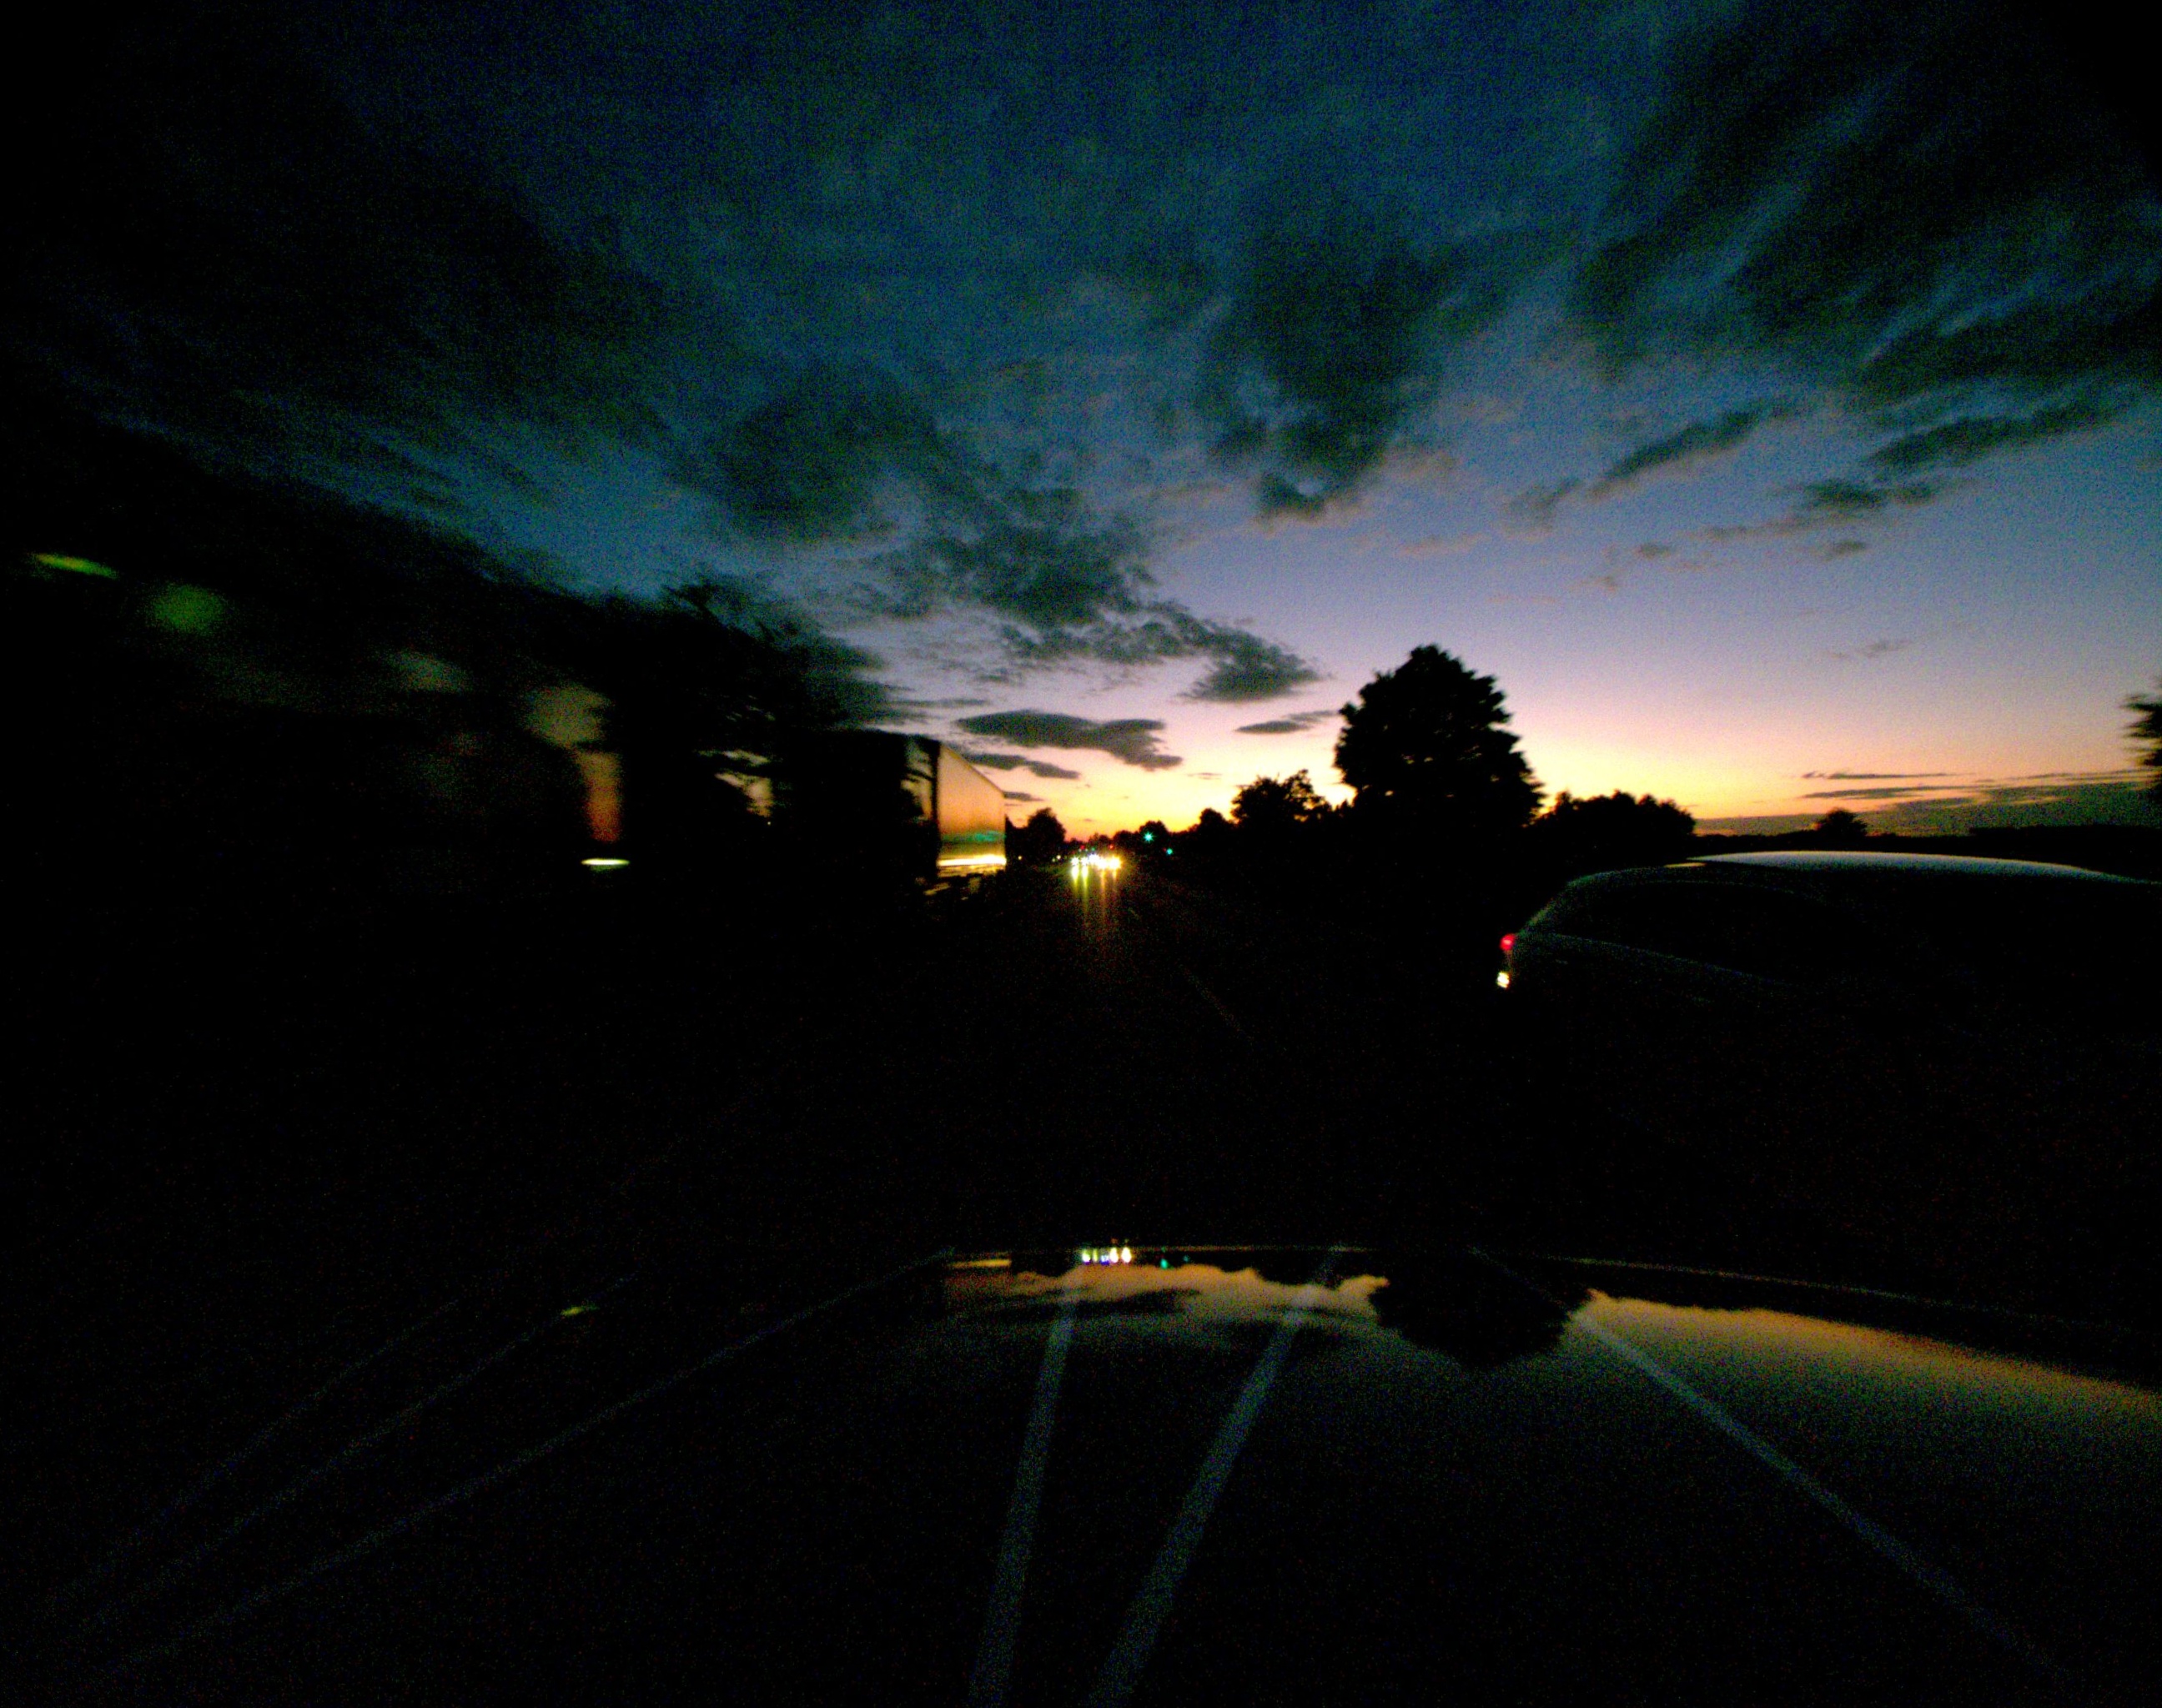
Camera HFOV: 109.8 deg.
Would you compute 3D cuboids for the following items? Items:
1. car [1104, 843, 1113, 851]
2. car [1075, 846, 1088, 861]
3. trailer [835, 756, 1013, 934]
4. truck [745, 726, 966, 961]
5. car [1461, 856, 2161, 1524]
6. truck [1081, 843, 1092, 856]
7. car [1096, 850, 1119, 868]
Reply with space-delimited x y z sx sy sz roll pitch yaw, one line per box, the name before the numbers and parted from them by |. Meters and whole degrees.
car | 6.979 -1.697 193.506 1.999 2.002 3.999 -2 1 -1
car | 0.079 -0.099 108.578 1.741 2.002 4.000 -2 0 0
trailer | -3.977 -0.262 22.893 2.475 3.790 12.670 -2 1 1
truck | -4.112 -0.207 15.221 2.490 3.778 5.498 -2 1 2
car | 3.366 0.805 2.822 1.646 1.482 4.579 -2 1 1
truck | 1.627 -1.426 231.498 3.016 3.674 9.057 -2 1 0
car | 2.571 0.487 74.749 1.999 1.635 4.296 -2 1 -1
